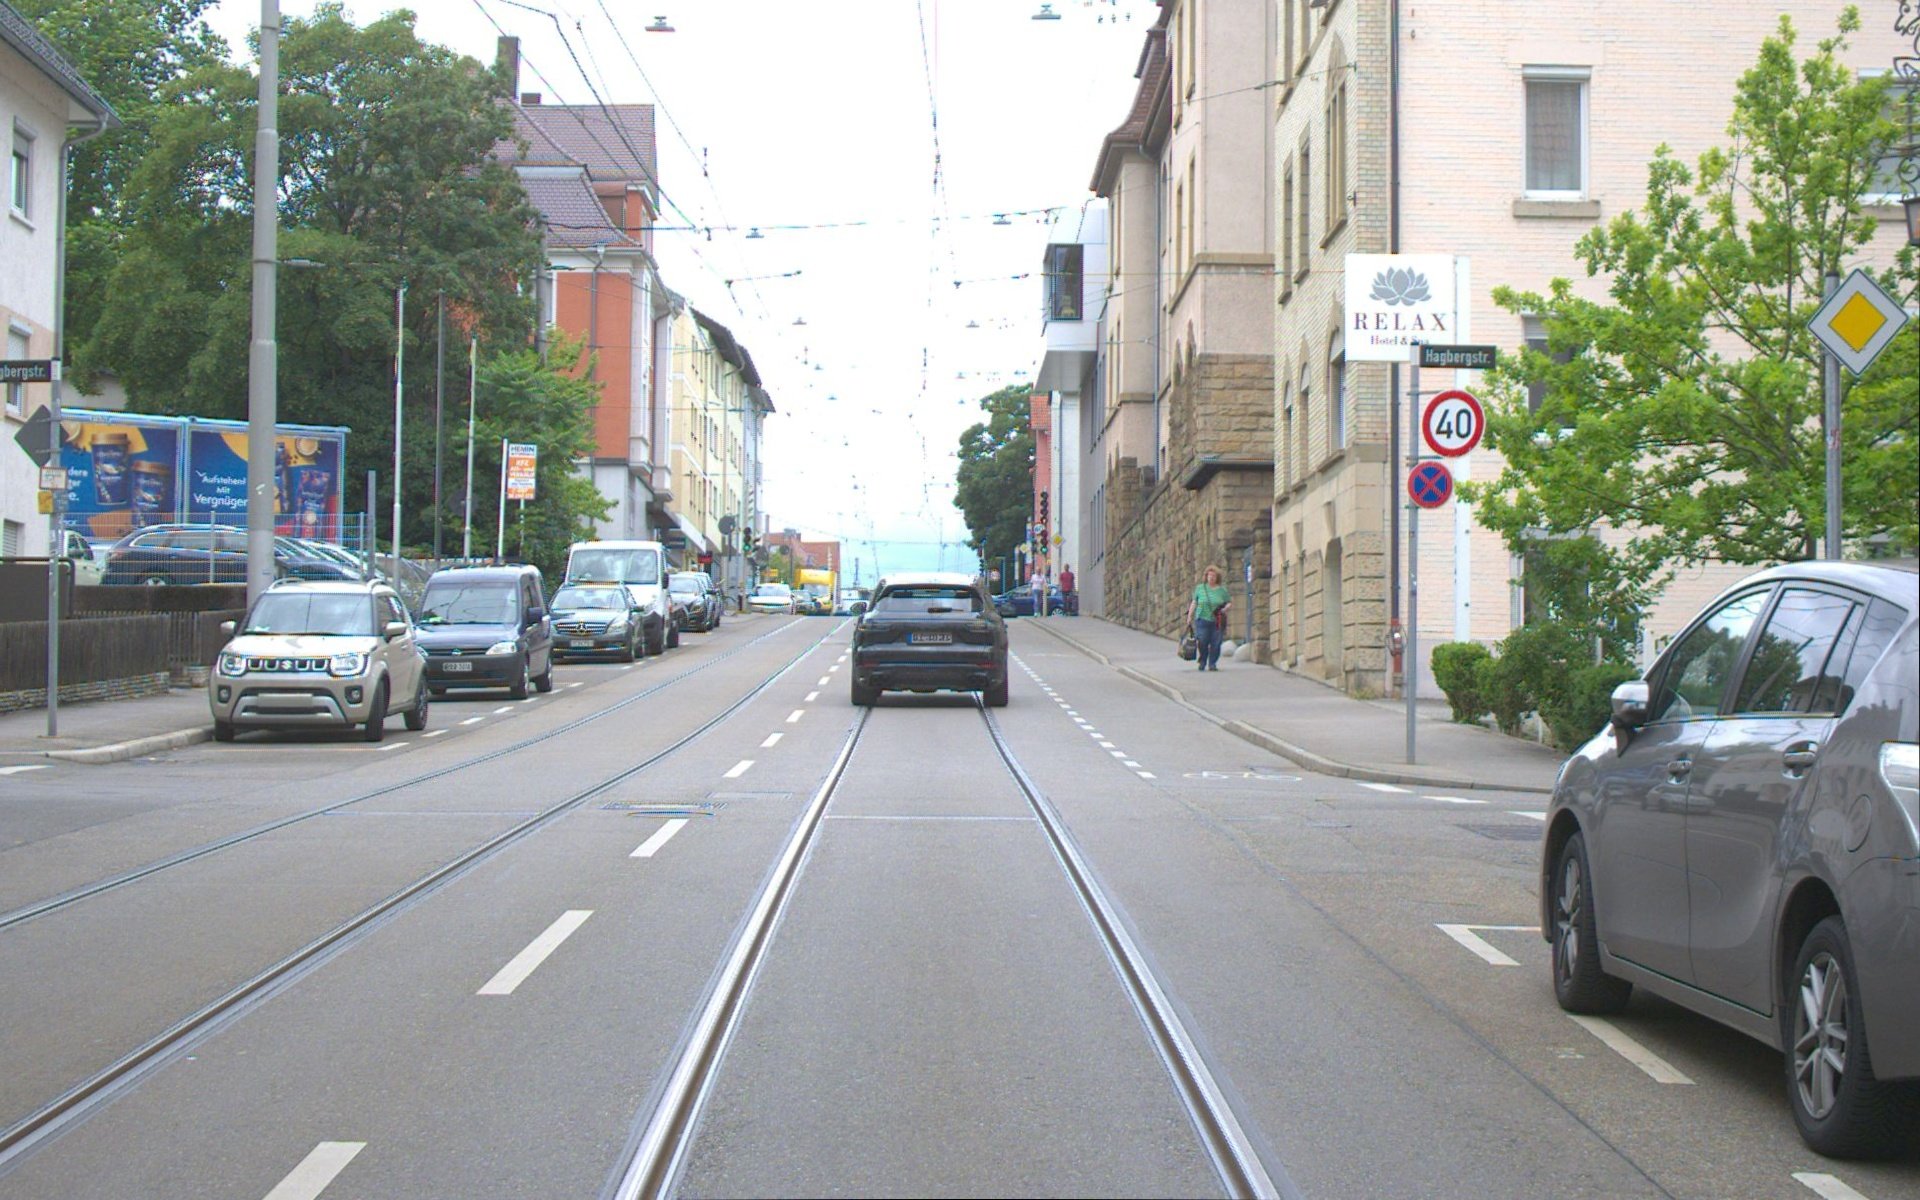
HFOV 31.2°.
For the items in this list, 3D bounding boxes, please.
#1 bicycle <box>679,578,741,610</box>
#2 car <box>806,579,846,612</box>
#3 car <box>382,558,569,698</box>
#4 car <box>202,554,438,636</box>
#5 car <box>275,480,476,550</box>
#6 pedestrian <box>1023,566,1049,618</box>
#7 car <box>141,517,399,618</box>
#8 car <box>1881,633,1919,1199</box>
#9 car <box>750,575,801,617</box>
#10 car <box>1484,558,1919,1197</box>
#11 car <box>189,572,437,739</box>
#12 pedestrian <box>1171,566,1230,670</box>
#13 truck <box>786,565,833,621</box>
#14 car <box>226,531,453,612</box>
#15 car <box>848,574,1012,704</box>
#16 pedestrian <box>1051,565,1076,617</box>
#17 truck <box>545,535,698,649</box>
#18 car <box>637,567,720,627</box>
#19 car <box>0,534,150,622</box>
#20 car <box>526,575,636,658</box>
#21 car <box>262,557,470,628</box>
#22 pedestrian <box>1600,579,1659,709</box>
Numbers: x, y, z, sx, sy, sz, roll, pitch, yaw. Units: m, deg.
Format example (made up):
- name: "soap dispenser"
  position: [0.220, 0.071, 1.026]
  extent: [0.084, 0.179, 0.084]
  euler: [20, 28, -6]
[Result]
- name: "bicycle"
  position: [-7.953, -0.185, 109.307]
  extent: [1.911, 0.996, 0.479]
  euler: [1, 0, 0]
- name: "car"
  position: [-6.674, -0.240, 171.775]
  extent: [1.855, 1.601, 4.297]
  euler: [1, 1, -1]
- name: "car"
  position: [-6.375, 0.331, 45.679]
  extent: [1.744, 1.730, 4.519]
  euler: [-1, 1, 1]
- name: "car"
  position: [-11.859, -0.101, 63.838]
  extent: [4.060, 1.440, 1.688]
  euler: [1, 1, -1]
- name: "car"
  position: [-12.074, -1.751, 71.192]
  extent: [3.876, 1.352, 1.688]
  euler: [1, 1, -1]
- name: "pedestrian"
  position: [2.492, -0.267, 112.675]
  extent: [0.791, 1.661, 0.798]
  euler: [1, 0, 2]
- name: "car"
  position: [-11.840, -0.559, 59.147]
  extent: [4.060, 1.547, 1.688]
  euler: [2, 1, -1]
- name: "car"
  position: [3.038, 0.834, 5.320]
  extent: [1.779, 1.386, 4.692]
  euler: [3, 1, -2]
- name: "car"
  position: [-7.430, -0.168, 138.985]
  extent: [1.855, 1.601, 4.297]
  euler: [1, 1, -1]
- name: "car"
  position: [2.969, 0.678, 10.578]
  extent: [1.735, 1.532, 4.575]
  euler: [3, 1, -3]
- name: "car"
  position: [-6.443, 0.509, 34.598]
  extent: [1.697, 1.551, 3.850]
  euler: [1, 1, 1]
- name: "pedestrian"
  position: [3.933, 0.288, 56.288]
  extent: [0.870, 1.680, 0.663]
  euler: [-1, 0, -2]
- name: "truck"
  position: [-8.376, -0.389, 191.553]
  extent: [2.302, 3.026, 9.034]
  euler: [1, 0, -1]
- name: "car"
  position: [-11.940, -0.553, 66.306]
  extent: [4.060, 1.489, 1.688]
  euler: [1, 1, -1]
- name: "car"
  position: [-0.372, 0.466, 44.475]
  extent: [1.993, 1.558, 4.290]
  euler: [1, 1, 0]
- name: "pedestrian"
  position: [3.393, -0.299, 112.644]
  extent: [0.791, 1.661, 0.798]
  euler: [1, 0, 2]
- name: "truck"
  position: [-6.893, -0.206, 70.842]
  extent: [2.280, 2.180, 8.025]
  euler: [1, 1, 0]
- name: "car"
  position: [-7.033, -0.085, 86.184]
  extent: [1.712, 1.441, 4.290]
  euler: [1, 1, 0]
- name: "car"
  position: [-15.827, -0.408, 61.531]
  extent: [1.682, 1.489, 3.889]
  euler: [1, 1, 1]
- name: "car"
  position: [-7.006, 0.279, 63.889]
  extent: [1.697, 1.428, 4.482]
  euler: [-1, 1, -2]
- name: "car"
  position: [-11.874, -0.158, 68.879]
  extent: [3.876, 1.352, 1.688]
  euler: [1, 1, -1]
- name: "pedestrian"
  position: [8.275, 0.538, 42.498]
  extent: [0.558, 1.577, 0.686]
  euler: [1, 0, 0]
